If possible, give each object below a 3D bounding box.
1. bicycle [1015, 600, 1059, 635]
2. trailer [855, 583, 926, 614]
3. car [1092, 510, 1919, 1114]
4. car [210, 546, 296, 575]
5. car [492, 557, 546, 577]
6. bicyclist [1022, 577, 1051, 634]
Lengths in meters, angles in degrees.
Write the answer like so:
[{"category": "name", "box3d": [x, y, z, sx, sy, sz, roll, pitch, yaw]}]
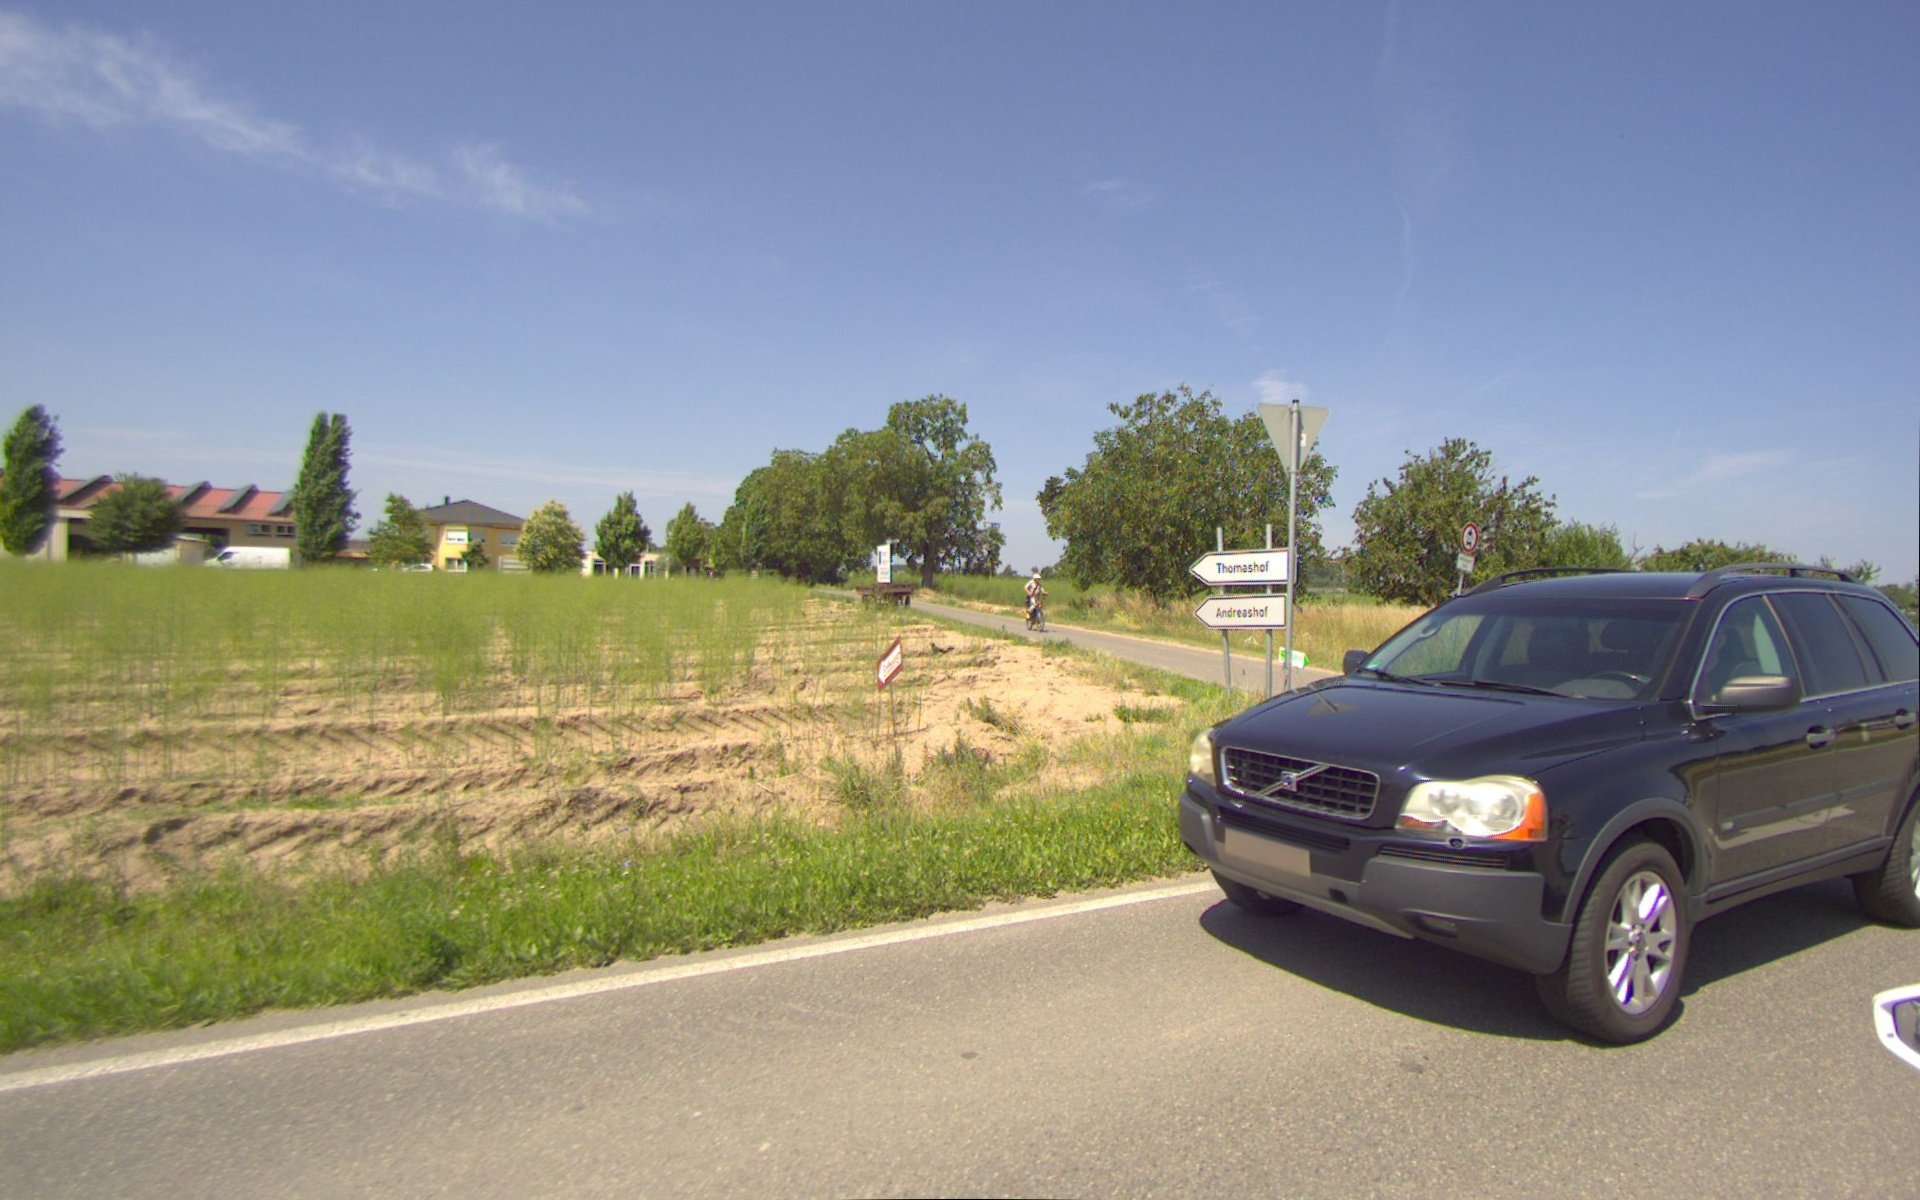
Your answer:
[{"category": "bicycle", "box3d": [2.430, 0.552, 31.934, 0.672, 1.005, 1.916, 2, 1, -19]}, {"category": "trailer", "box3d": [-2.927, -0.073, 41.585, 1.969, 1.154, 3.983, 2, 0, -18]}, {"category": "car", "box3d": [3.300, 0.684, 5.124, 5.144, 1.775, 1.923, 1, -1, -31]}, {"category": "car", "box3d": [-57.725, -3.206, 82.151, 5.430, 2.089, 1.859, 2, 1, -26]}, {"category": "car", "box3d": [-37.355, -2.784, 85.040, 3.954, 1.559, 1.856, 2, 1, -31]}, {"category": "bicyclist", "box3d": [2.432, 0.161, 31.967, 0.652, 1.781, 0.698, 2, 1, -19]}]
